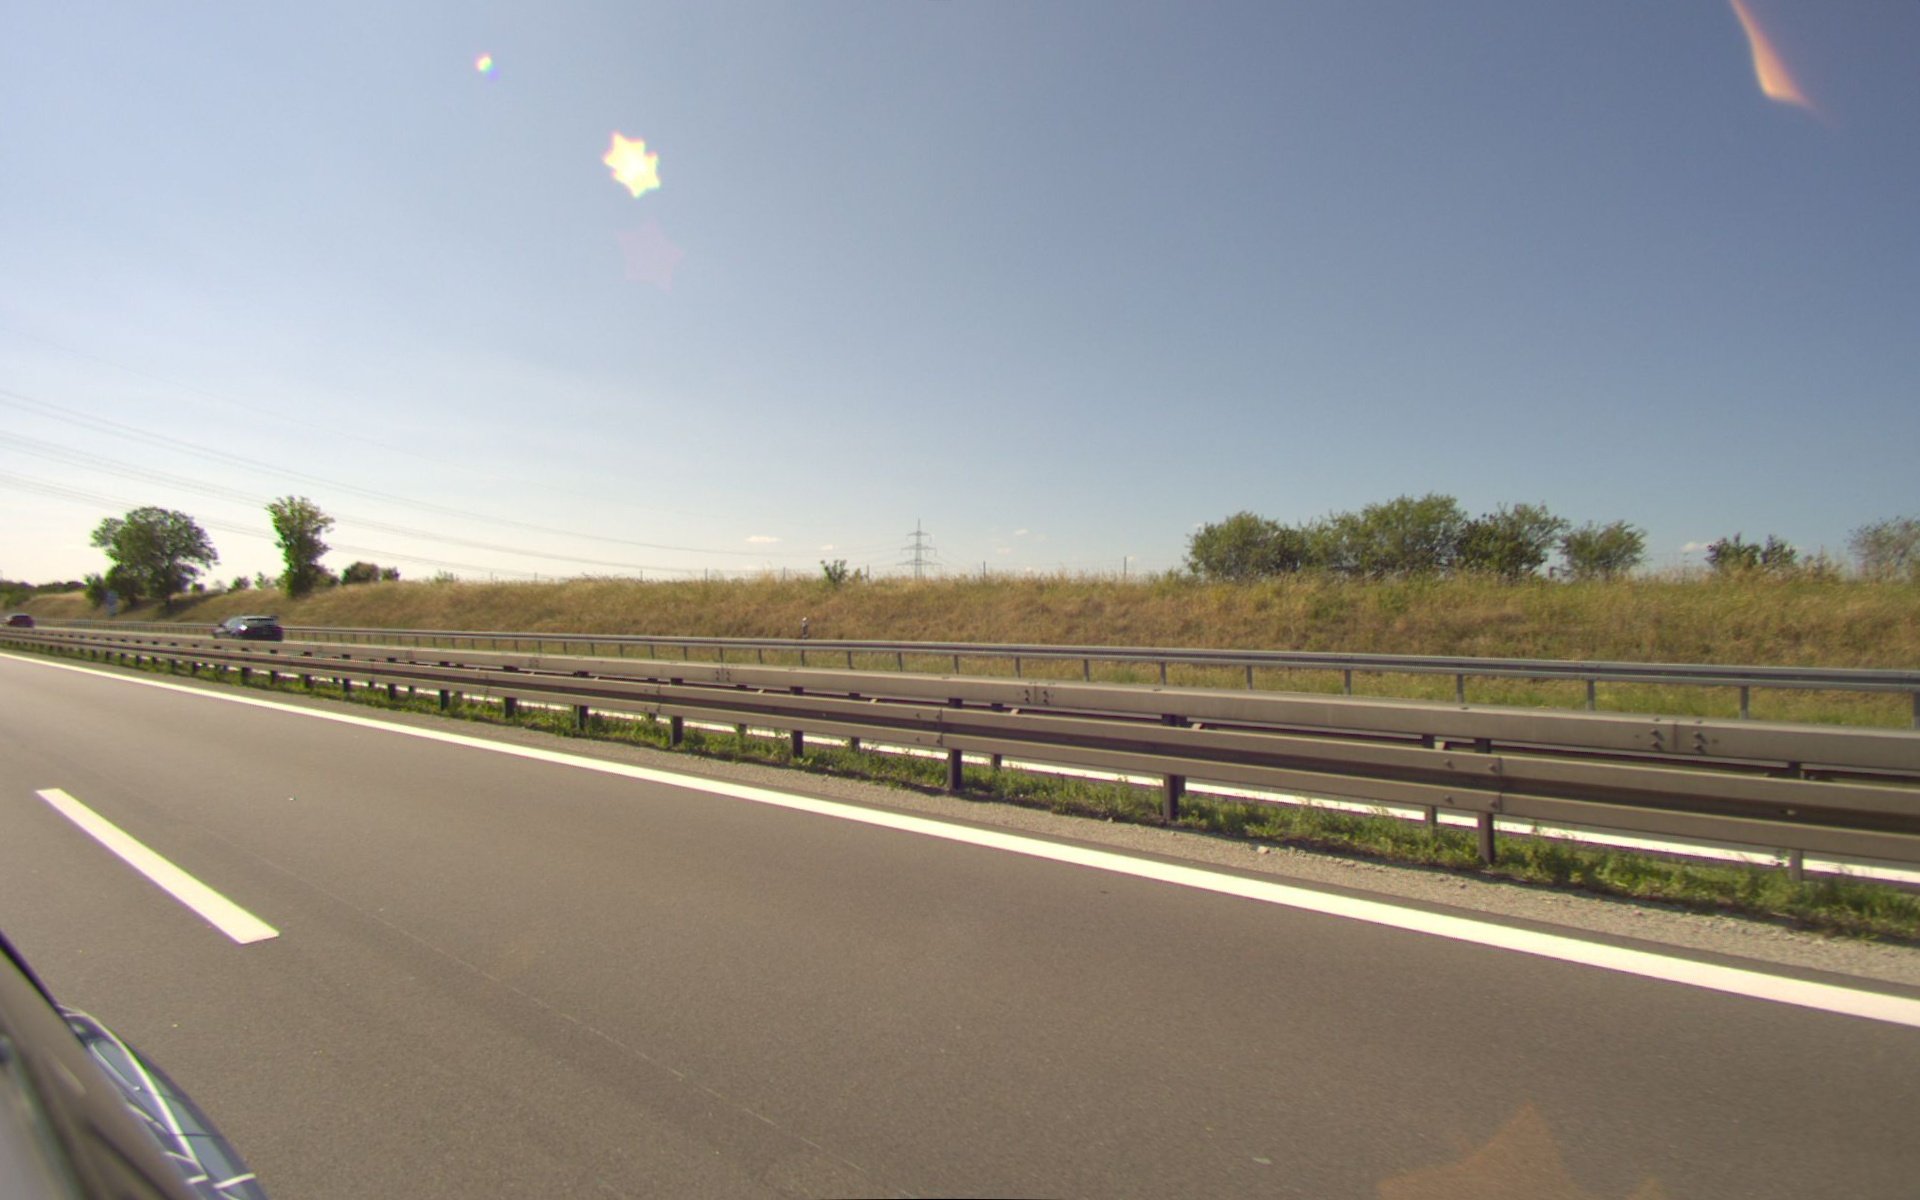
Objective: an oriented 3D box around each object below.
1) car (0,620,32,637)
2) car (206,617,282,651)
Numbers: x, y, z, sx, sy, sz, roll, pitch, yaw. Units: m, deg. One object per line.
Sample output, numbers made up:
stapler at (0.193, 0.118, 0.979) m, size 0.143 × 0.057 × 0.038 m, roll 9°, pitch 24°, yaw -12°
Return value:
car at (-83.320, 2.478, 89.032) m, size 4.550 × 1.370 × 1.886 m, roll -1°, pitch -1°, yaw 40°
car at (-33.178, 1.553, 46.837) m, size 5.238 × 1.478 × 1.707 m, roll -1°, pitch -1°, yaw 41°
